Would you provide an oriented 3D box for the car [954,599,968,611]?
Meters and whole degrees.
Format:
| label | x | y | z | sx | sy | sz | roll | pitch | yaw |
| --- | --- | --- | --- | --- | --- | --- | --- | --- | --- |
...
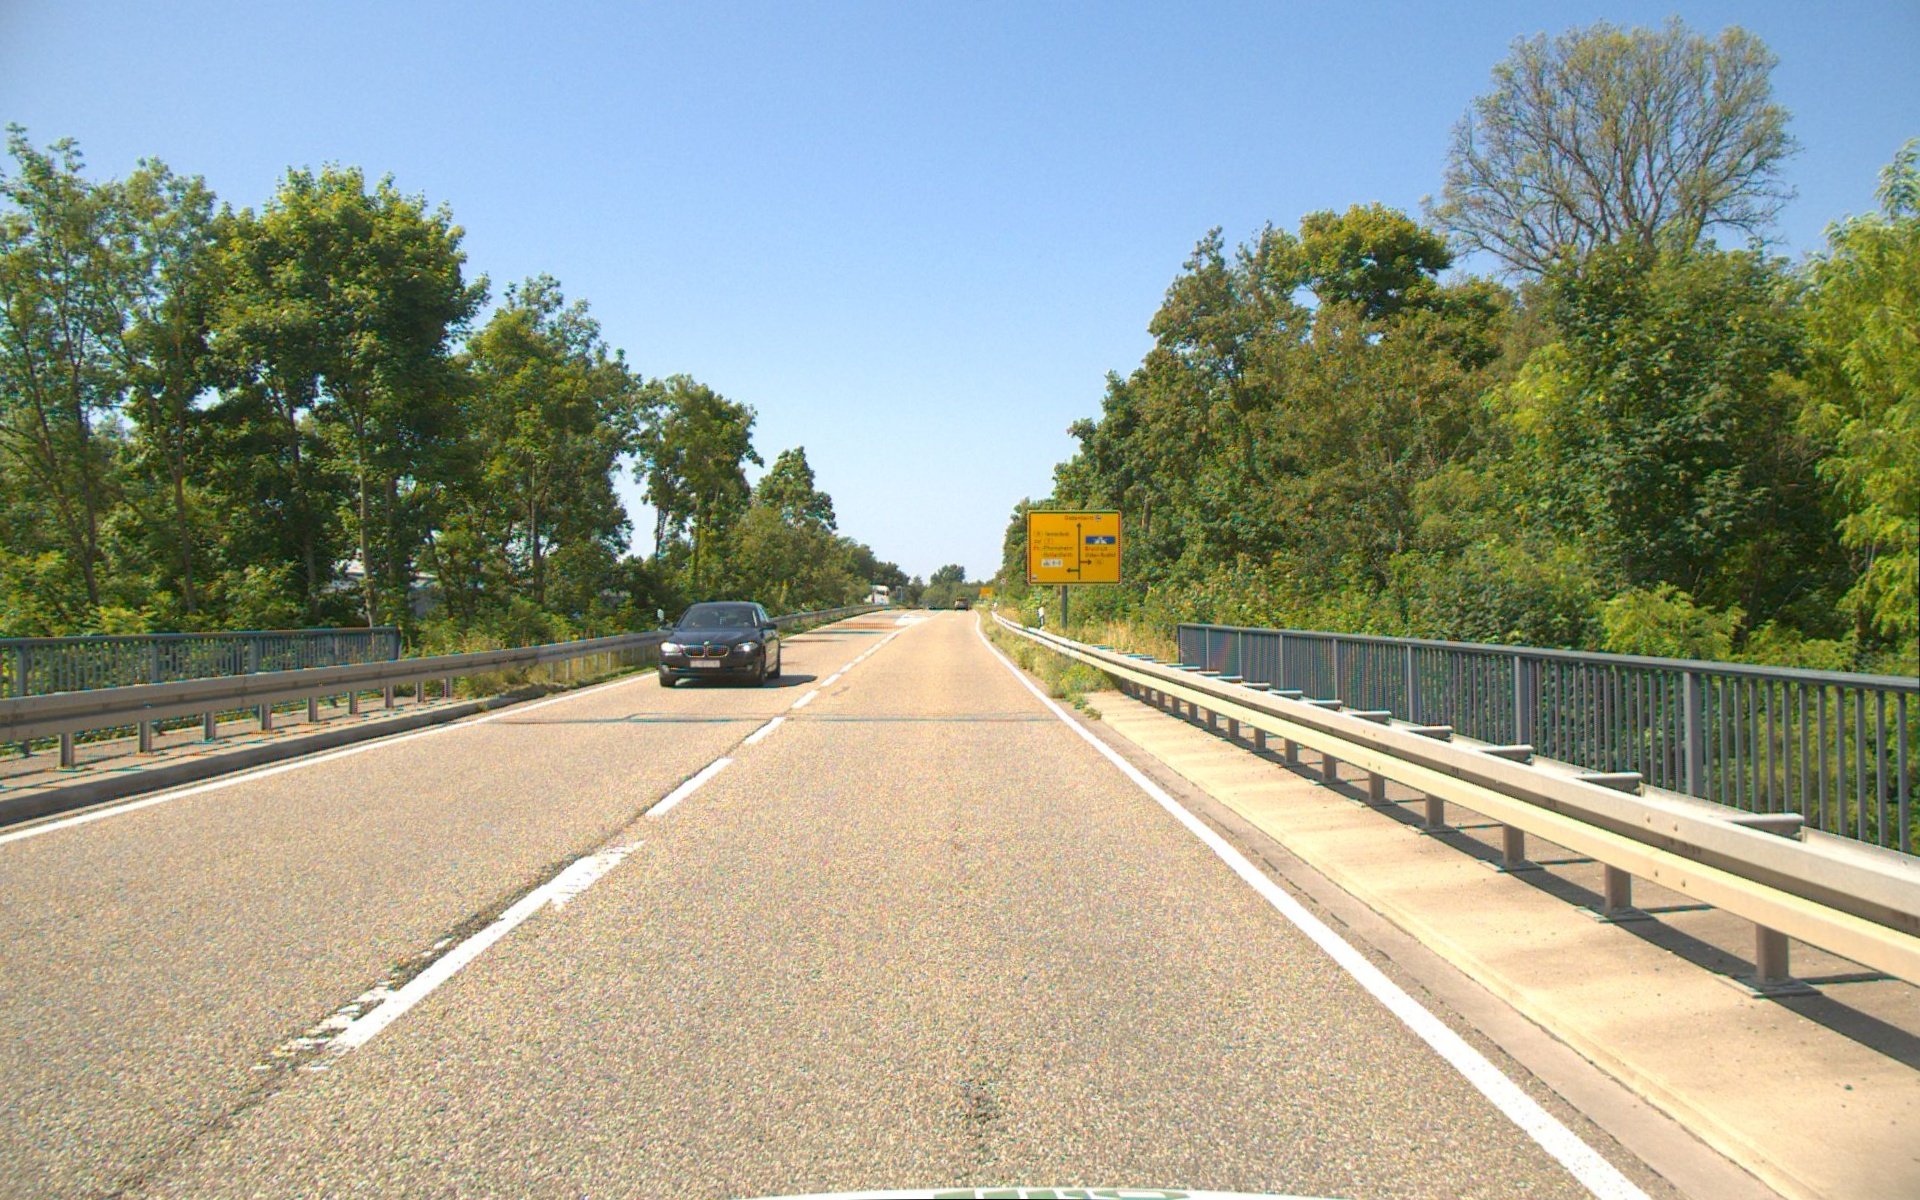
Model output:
| label | x | y | z | sx | sy | sz | roll | pitch | yaw |
| --- | --- | --- | --- | --- | --- | --- | --- | --- | --- |
| car | 0.143 | 0.621 | 199.850 | 1.705 | 1.496 | 3.692 | 0 | 0 | 0 |

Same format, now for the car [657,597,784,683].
| label | x | y | z | sx | sy | sz | roll | pitch | yaw |
| --- | --- | --- | --- | --- | --- | --- | --- | --- | --- |
| car | -4.337 | 0.695 | 30.533 | 1.710 | 1.450 | 4.676 | 0 | 0 | -1 |
